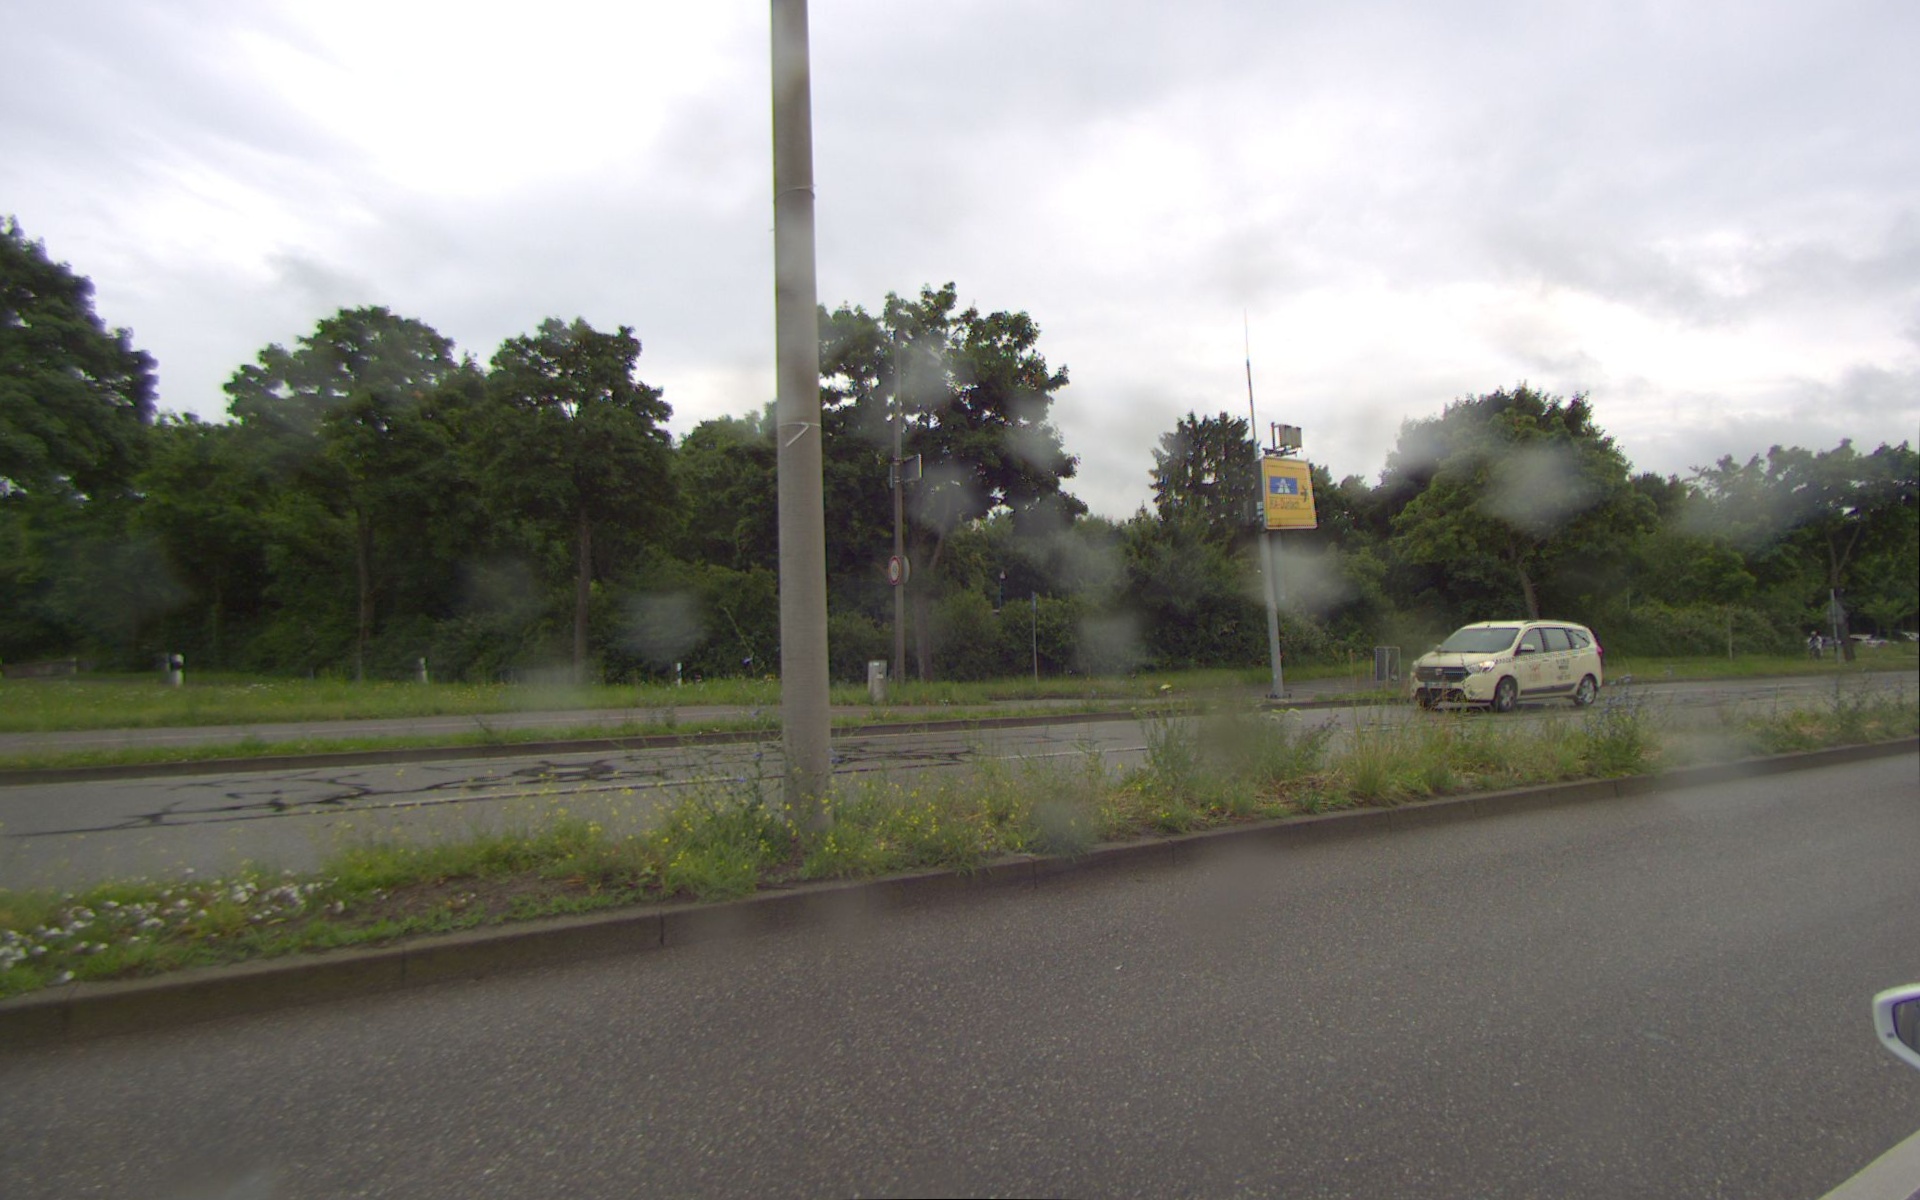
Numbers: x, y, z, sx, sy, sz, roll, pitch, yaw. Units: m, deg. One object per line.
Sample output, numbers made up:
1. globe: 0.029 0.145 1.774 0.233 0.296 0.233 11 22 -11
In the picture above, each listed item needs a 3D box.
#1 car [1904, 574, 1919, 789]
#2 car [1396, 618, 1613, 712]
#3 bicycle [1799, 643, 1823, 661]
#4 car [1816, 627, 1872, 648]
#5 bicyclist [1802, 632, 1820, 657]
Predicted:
1. car: 11.556 0.835 10.087 4.793 2.046 1.726 1 0 -31
2. car: 10.644 1.224 19.557 4.441 1.651 1.699 1 -4 -32
3. bicycle: 45.803 2.799 54.064 1.615 0.897 0.519 1 0 -31
4. car: 88.380 3.709 100.451 1.982 2.040 3.957 0 -1 -38
5. bicyclist: 45.813 2.417 54.066 0.799 1.320 0.519 1 0 -31
